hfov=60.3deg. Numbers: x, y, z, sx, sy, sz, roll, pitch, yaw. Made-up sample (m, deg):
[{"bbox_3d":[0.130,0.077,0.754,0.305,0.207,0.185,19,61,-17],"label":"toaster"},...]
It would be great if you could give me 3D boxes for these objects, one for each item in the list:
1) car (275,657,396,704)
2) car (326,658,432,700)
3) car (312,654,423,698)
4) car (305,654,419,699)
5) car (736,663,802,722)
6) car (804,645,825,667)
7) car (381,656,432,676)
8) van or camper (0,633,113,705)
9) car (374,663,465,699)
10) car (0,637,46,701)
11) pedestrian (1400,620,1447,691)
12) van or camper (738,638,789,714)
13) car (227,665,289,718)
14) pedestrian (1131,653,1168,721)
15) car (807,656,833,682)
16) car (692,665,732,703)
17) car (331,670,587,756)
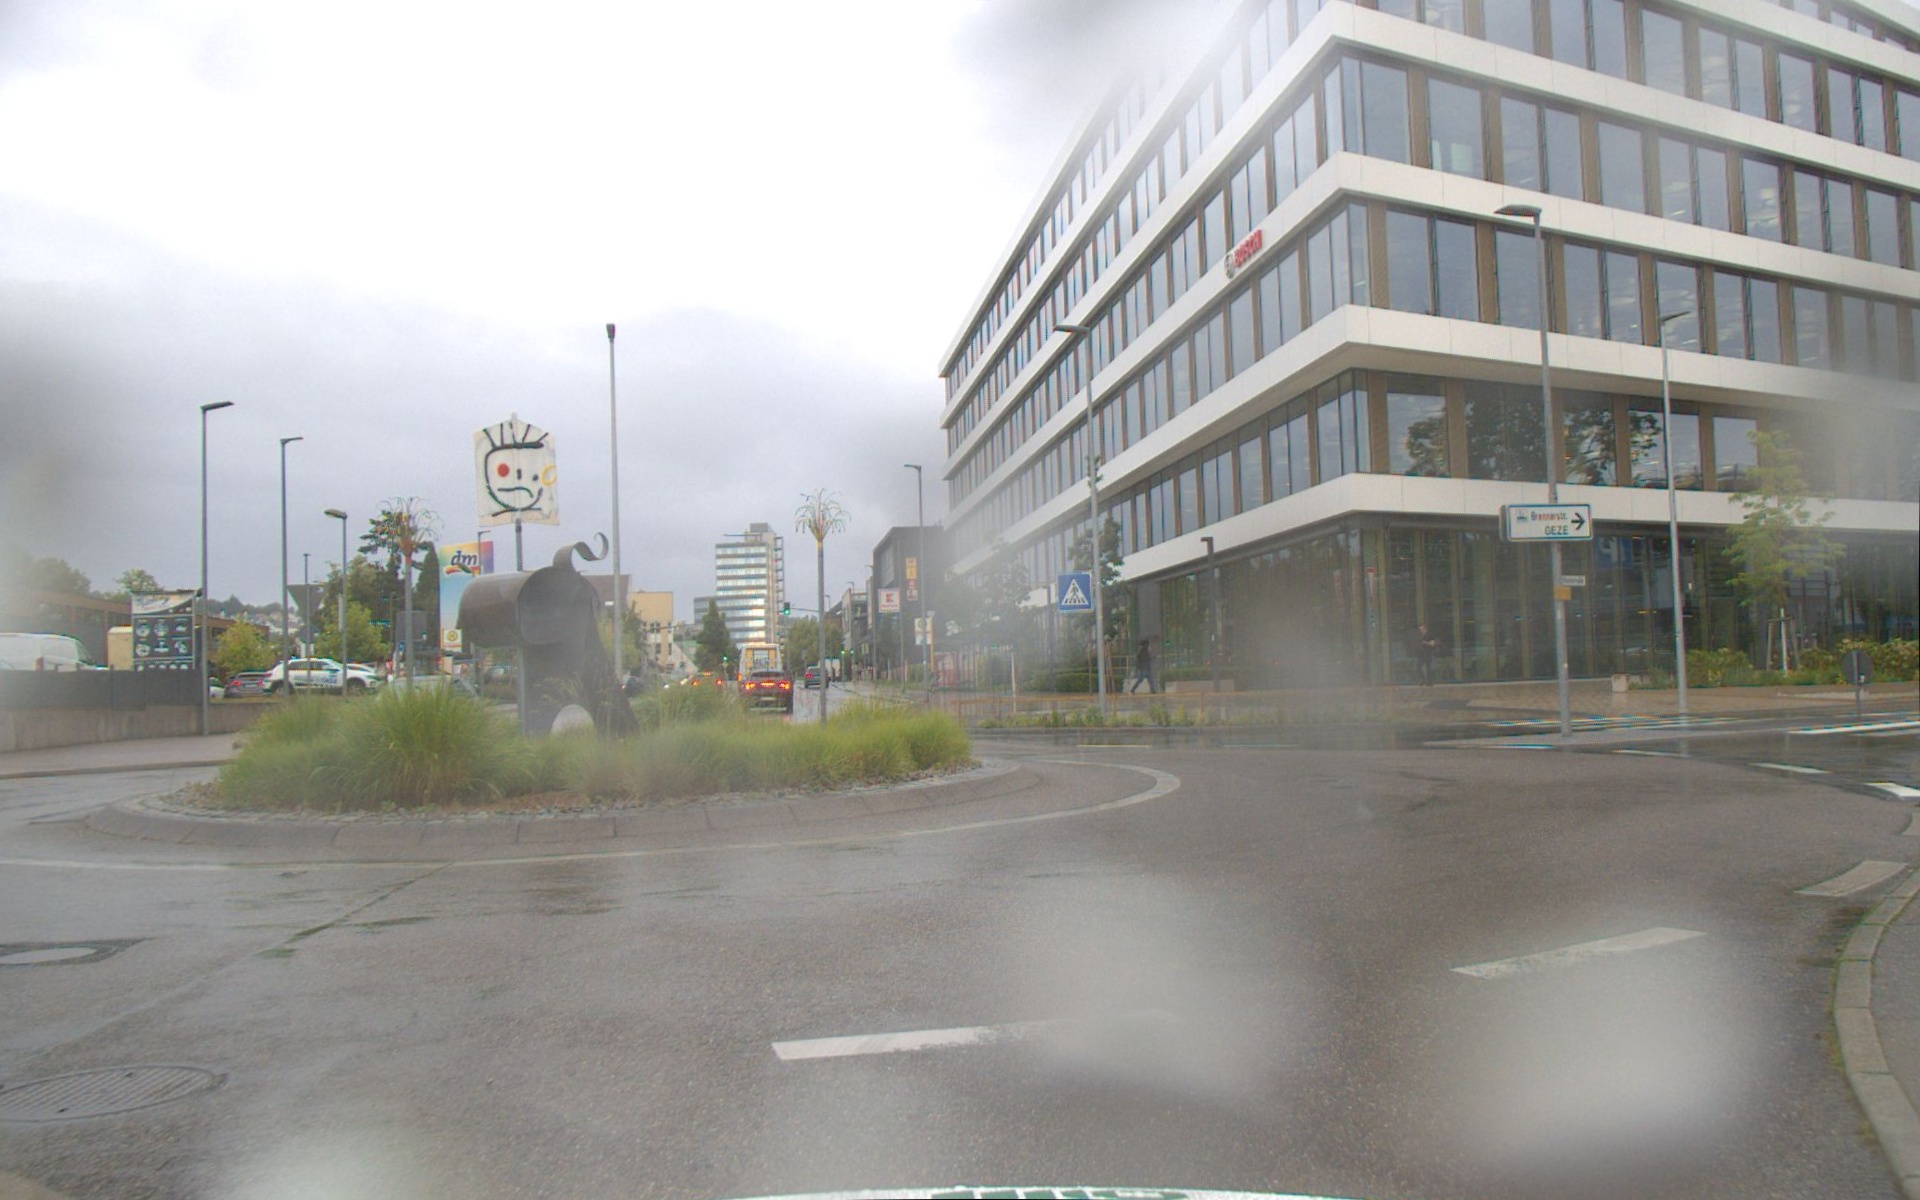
[{"bbox_3d":[-23.149,2.976,61.439,3.915,1.579,1.847,-1,-2,-10],"label":"car"},{"bbox_3d":[-24.333,3.307,69.411,3.915,1.579,1.790,-1,-2,-10],"label":"car"},{"bbox_3d":[-23.808,3.056,66.610,3.915,1.579,1.790,-1,-2,-10],"label":"car"},{"bbox_3d":[-23.338,2.985,64.675,3.915,1.579,1.790,-1,-2,-10],"label":"car"},{"bbox_3d":[-6.463,3.106,56.365,1.954,1.758,3.997,-1,0,-3],"label":"car"},{"bbox_3d":[-14.082,5.417,160.235,1.955,1.892,3.996,1,0,-5],"label":"car"},{"bbox_3d":[-48.274,5.740,144.278,3.912,1.680,1.996,1,0,-9],"label":"car"},{"bbox_3d":[-25.484,1.874,46.096,1.845,1.792,4.376,-1,0,-6],"label":"van or camper"},{"bbox_3d":[-25.932,3.902,79.499,3.915,1.579,1.790,-1,-2,-10],"label":"car"},{"bbox_3d":[-22.415,1.540,36.024,3.911,1.318,1.885,-1,0,-7],"label":"car"},{"bbox_3d":[13.631,1.621,48.605,0.921,2.049,0.882,0,-3,-35],"label":"pedestrian"},{"bbox_3d":[-8.680,3.276,72.680,1.957,3.142,5.090,-2,-1,-9],"label":"van or camper"},{"bbox_3d":[-30.107,3.902,70.989,1.962,2.049,3.982,1,0,-17],"label":"car"},{"bbox_3d":[6.155,2.821,53.779,0.983,2.183,0.930,-2,-2,-5],"label":"pedestrian"},{"bbox_3d":[-11.127,5.481,131.400,1.955,1.892,3.996,1,0,-5],"label":"car"},{"bbox_3d":[-13.746,4.665,91.776,1.955,1.892,3.996,1,0,-5],"label":"car"},{"bbox_3d":[-9.470,2.116,31.826,1.952,1.407,5.344,-2,-2,19],"label":"car"}]
